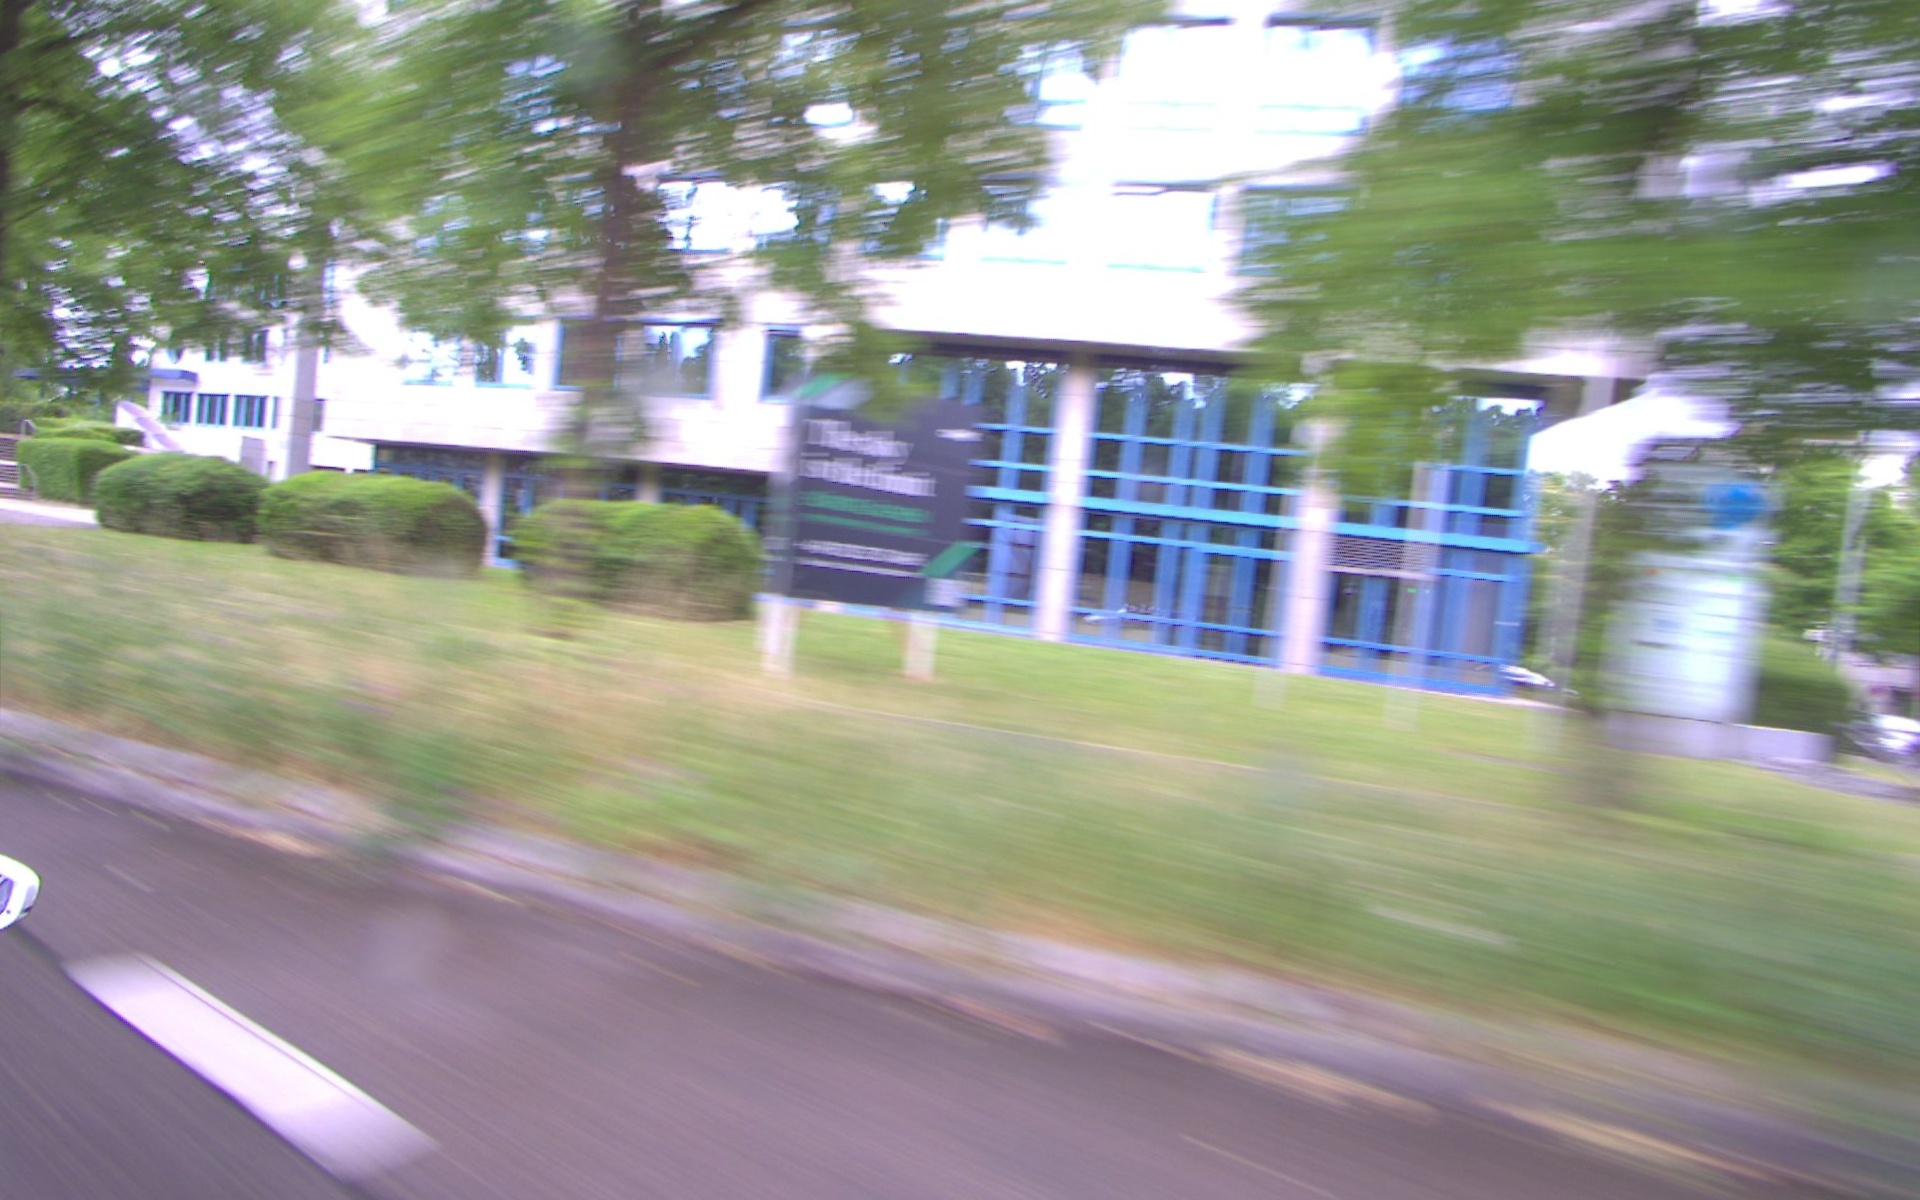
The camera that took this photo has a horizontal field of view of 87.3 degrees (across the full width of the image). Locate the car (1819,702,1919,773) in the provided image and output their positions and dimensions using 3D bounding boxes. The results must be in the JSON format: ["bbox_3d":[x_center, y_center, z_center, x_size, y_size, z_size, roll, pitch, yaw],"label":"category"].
[{"bbox_3d":[28.620,4.259,30.933,1.725,1.642,4.108,9,2,18],"label":"car"}]

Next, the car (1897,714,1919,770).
[{"bbox_3d":[26.532,3.982,26.237,1.726,1.451,4.104,9,2,25],"label":"car"}]
